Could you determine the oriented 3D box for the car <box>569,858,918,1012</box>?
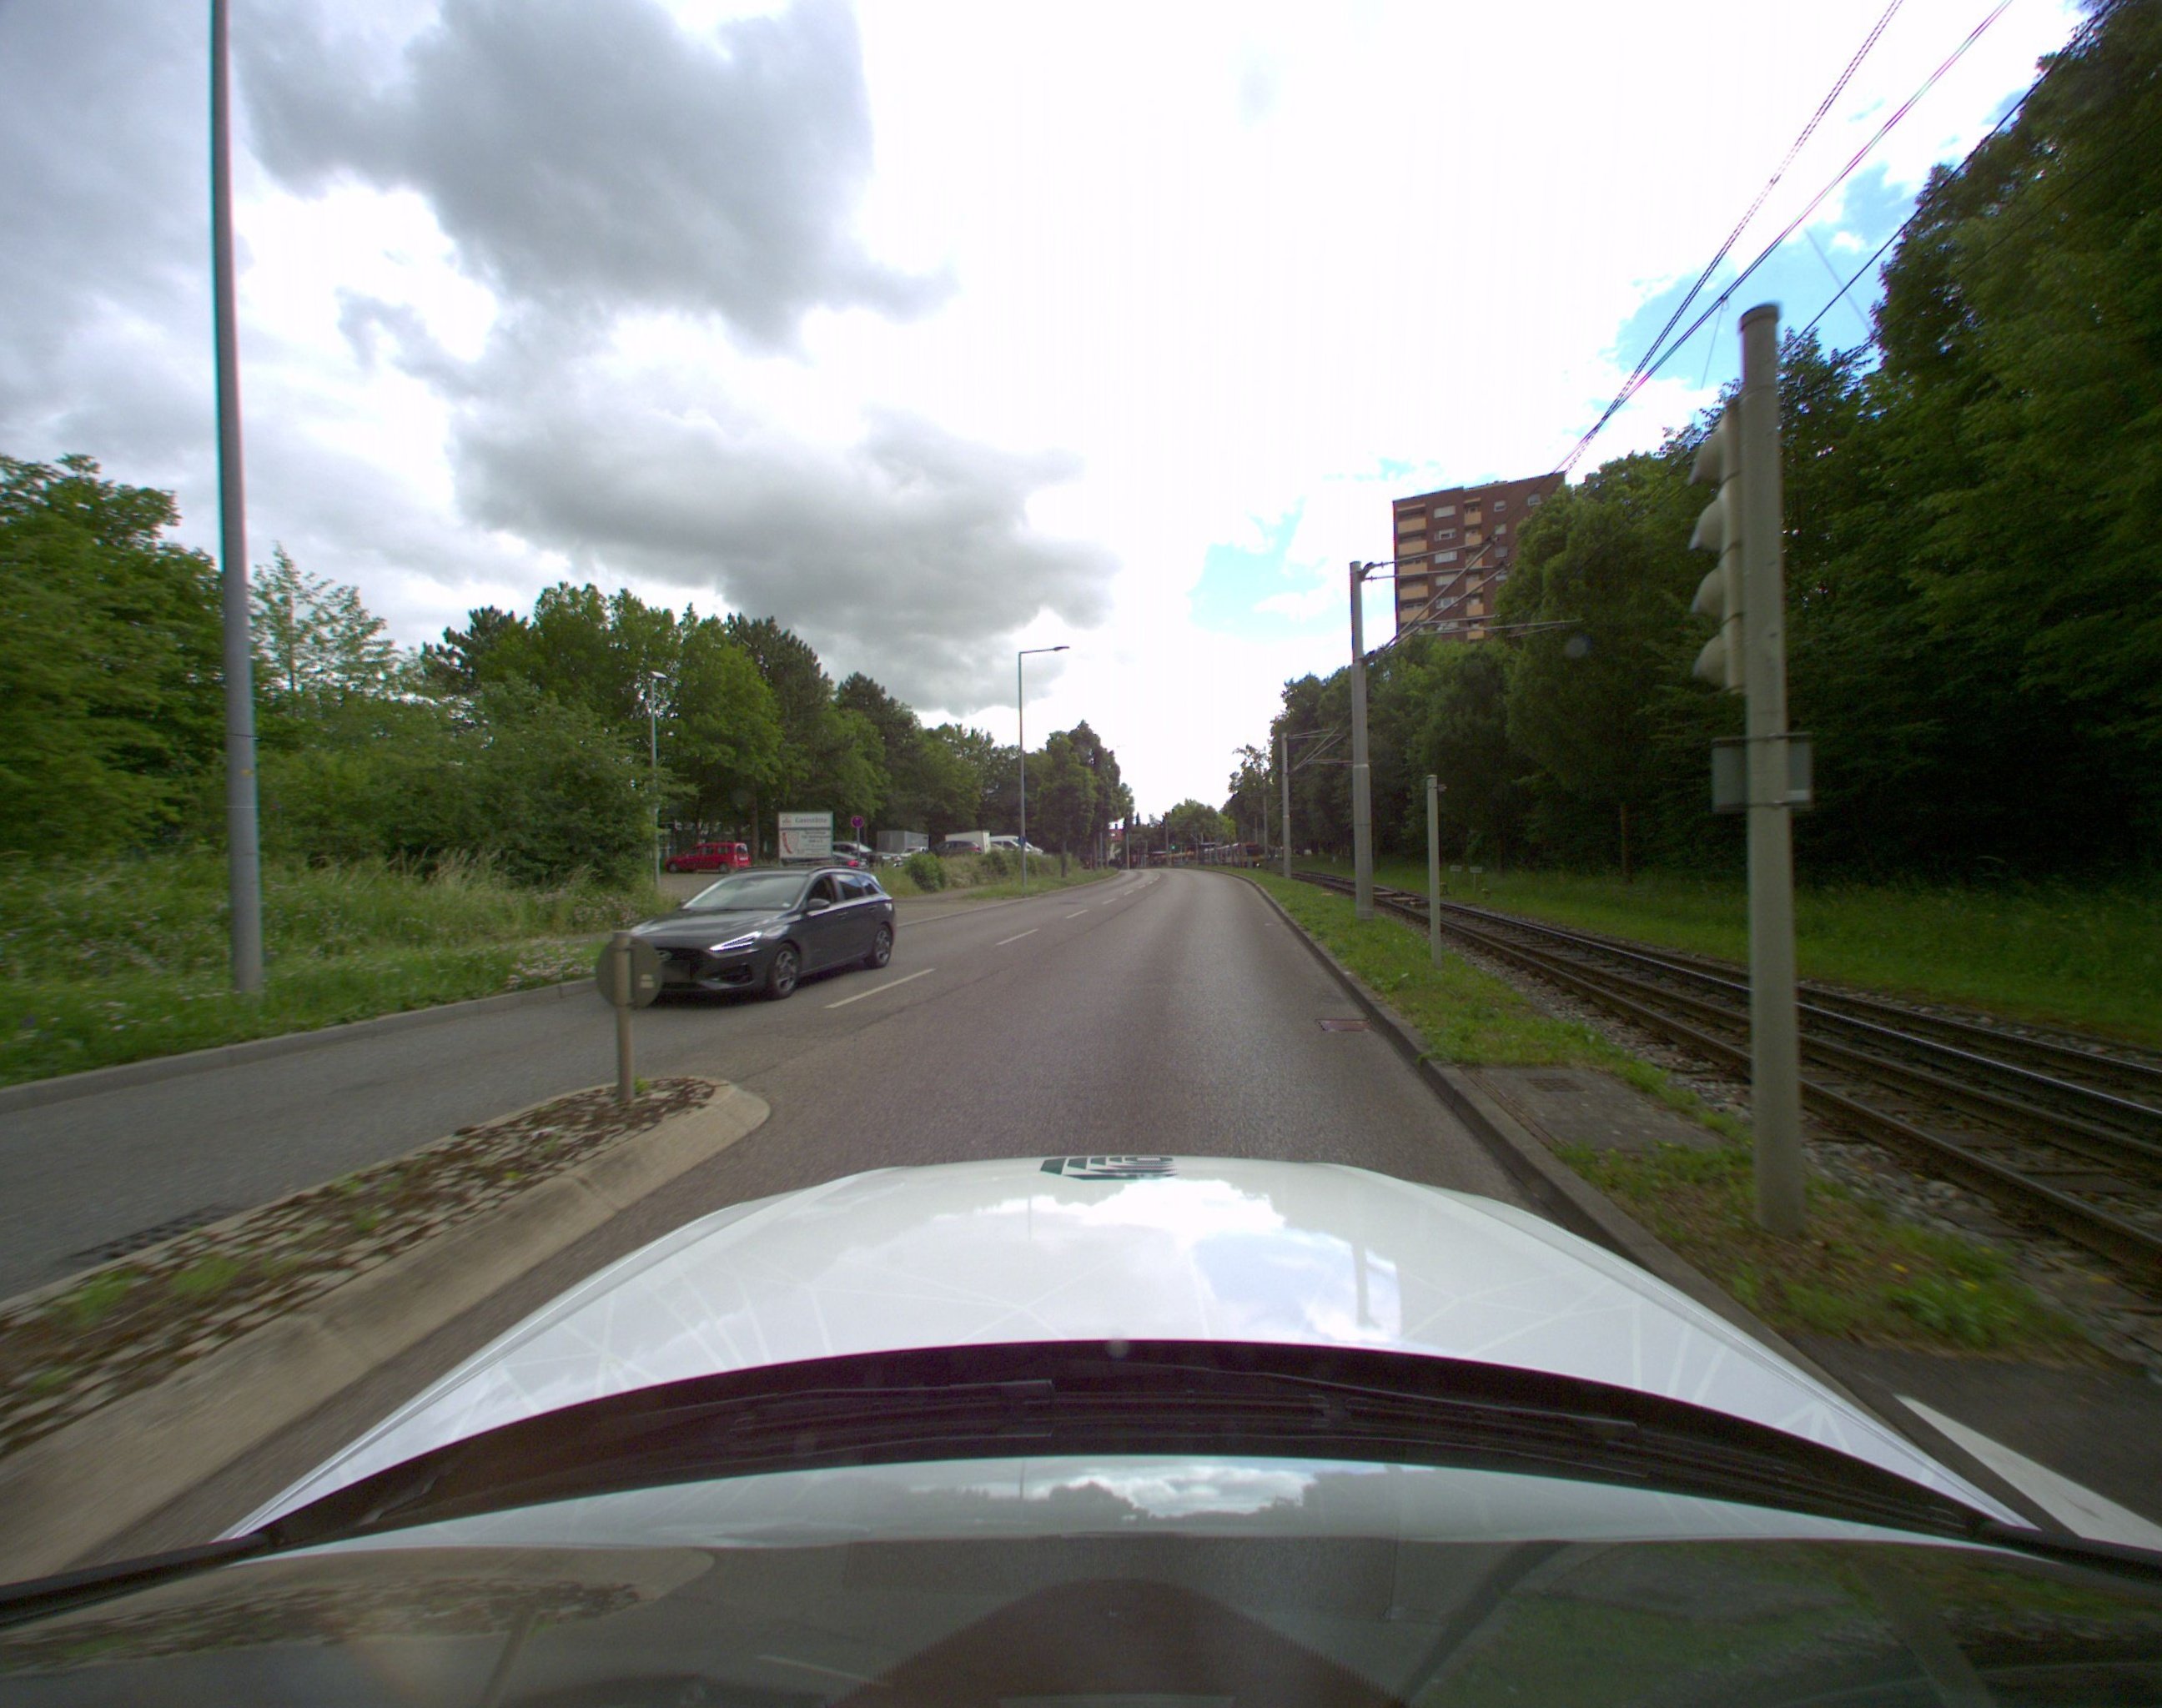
[{"bbox_3d":[-3.918,0.821,10.489,1.980,1.438,4.440,1,1,12],"label":"car"}]

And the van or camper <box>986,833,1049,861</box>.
[{"bbox_3d":[-5.181,-0.565,67.070,4.866,2.203,2.004,-1,0,6],"label":"van or camper"}]

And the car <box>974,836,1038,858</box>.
[{"bbox_3d":[-5.961,-0.543,64.603,4.609,1.656,2.008,-1,0,13],"label":"car"}]

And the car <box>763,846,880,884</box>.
[{"bbox_3d":[-10.218,0.432,32.266,3.936,1.397,2.003,-1,0,4],"label":"car"}]

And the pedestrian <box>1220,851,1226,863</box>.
[{"bbox_3d":[17.547,0.341,100.507,0.565,1.464,0.596,-1,0,2],"label":"pedestrian"}]

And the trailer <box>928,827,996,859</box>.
[{"bbox_3d":[-7.696,-0.702,52.806,3.963,2.013,1.913,-1,0,9],"label":"trailer"}]

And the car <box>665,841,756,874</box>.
[{"bbox_3d":[-19.960,0.187,43.985,3.972,1.662,2.001,-1,0,2],"label":"car"}]

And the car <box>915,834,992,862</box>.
[{"bbox_3d":[-7.739,-0.356,49.740,4.294,1.448,1.837,-3,0,3],"label":"car"}]

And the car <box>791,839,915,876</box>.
[{"bbox_3d":[-10.369,0.155,37.264,4.901,1.585,2.211,-1,0,5],"label":"car"}]

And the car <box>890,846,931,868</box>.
[{"bbox_3d":[-12.804,0.237,61.319,1.875,1.585,3.673,-1,0,8],"label":"car"}]

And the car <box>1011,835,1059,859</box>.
[{"bbox_3d":[-4.197,-0.634,74.084,3.963,2.013,2.005,-1,0,9],"label":"car"}]

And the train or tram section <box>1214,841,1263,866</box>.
[{"bbox_3d":[23.488,-0.132,123.935,2.994,3.310,34.748,-1,0,4],"label":"train or tram section"}]
